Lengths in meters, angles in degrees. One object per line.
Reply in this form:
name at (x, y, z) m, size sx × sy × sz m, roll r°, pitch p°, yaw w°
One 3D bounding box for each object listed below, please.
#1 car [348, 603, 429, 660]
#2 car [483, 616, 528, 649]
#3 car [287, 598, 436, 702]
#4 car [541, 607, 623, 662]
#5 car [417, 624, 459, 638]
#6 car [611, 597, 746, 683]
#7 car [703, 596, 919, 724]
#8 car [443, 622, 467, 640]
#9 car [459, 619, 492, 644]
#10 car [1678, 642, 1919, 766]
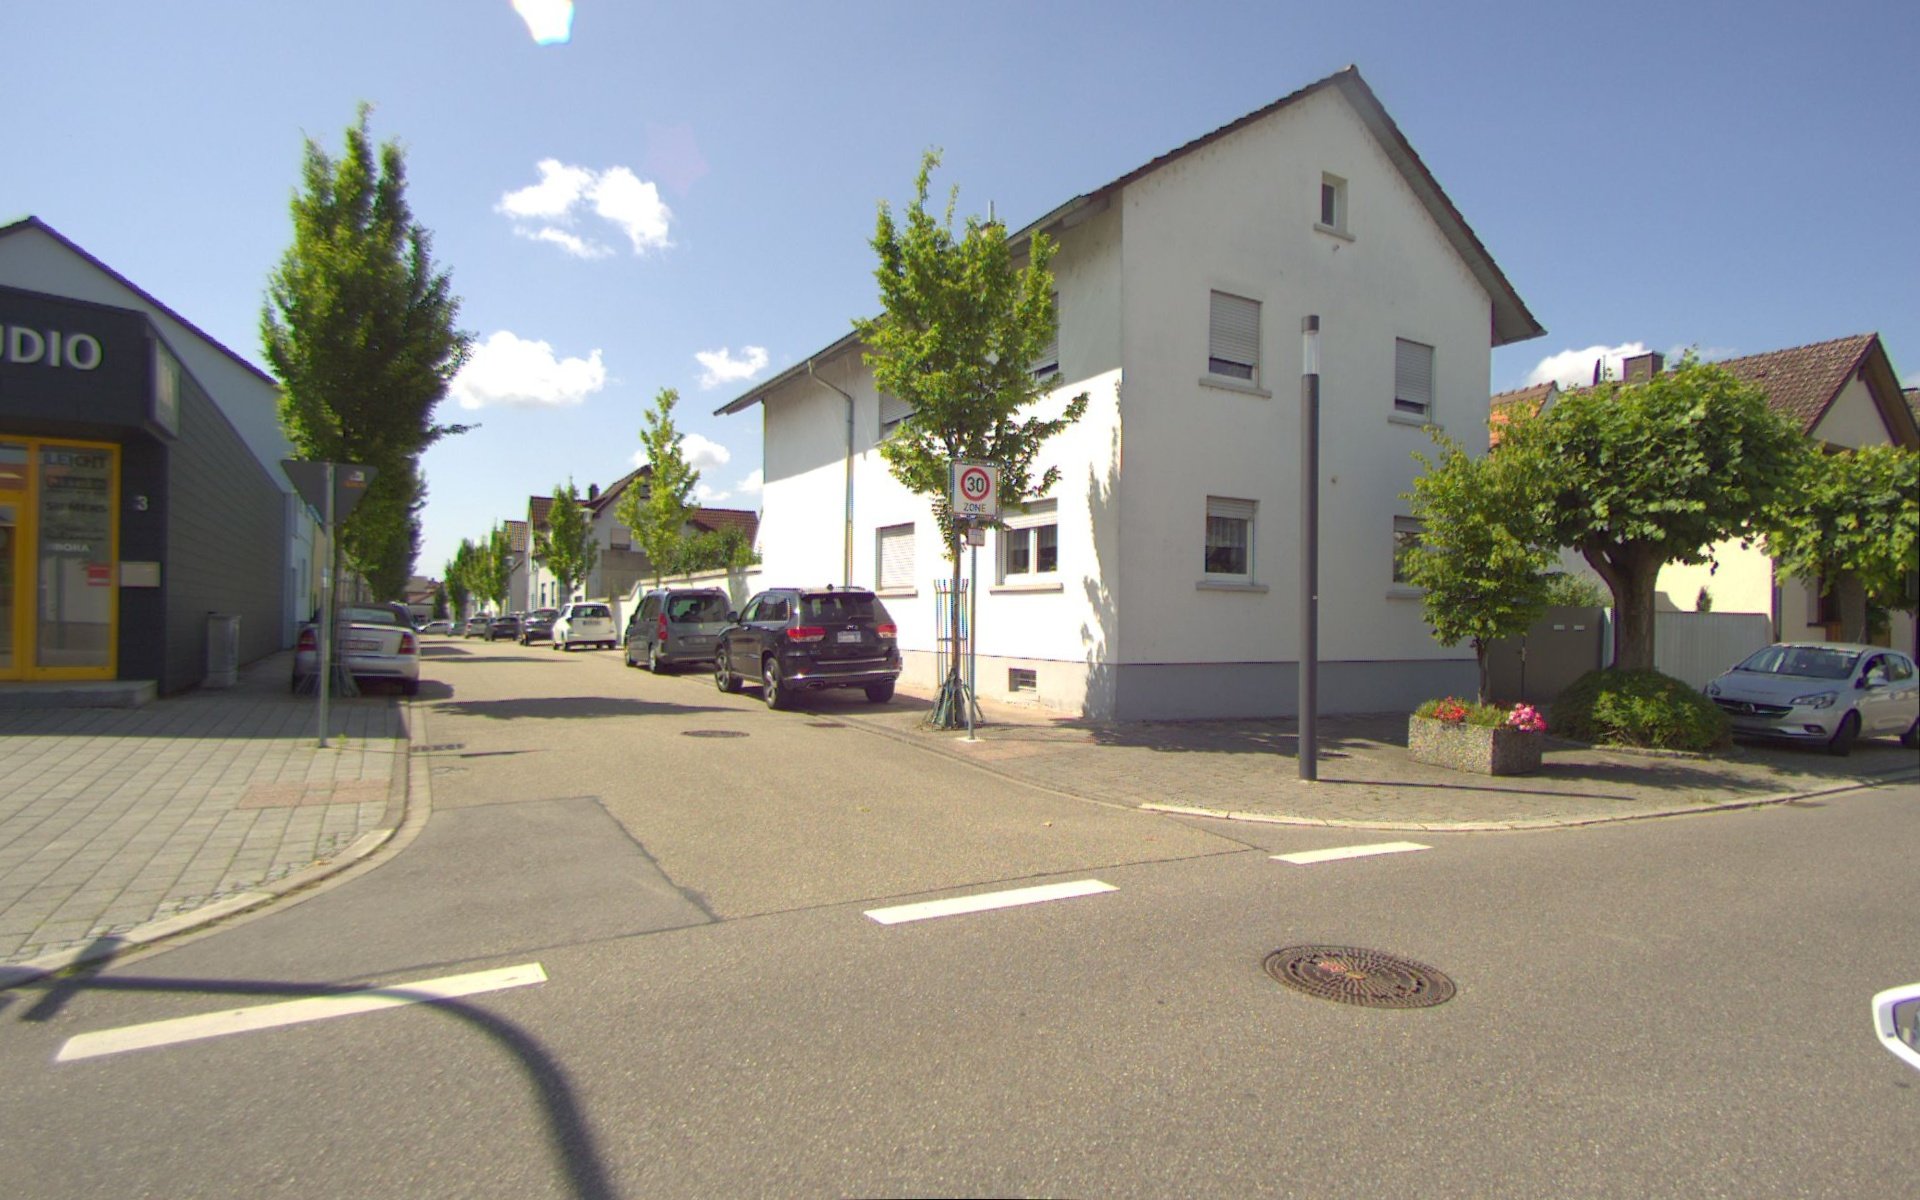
car at (-16.859, 0.938, 29.597) m, size 1.846 × 1.481 × 4.402 m, roll 5°, pitch -4°, yaw -31°
car at (-26.593, 1.843, 58.697) m, size 1.976 × 1.763 × 4.403 m, roll 0°, pitch 0°, yaw -30°
car at (-9.860, 0.758, 16.686) m, size 1.845 × 1.482 × 4.404 m, roll 2°, pitch -1°, yaw -30°
car at (-13.074, 1.117, 34.560) m, size 1.976 × 1.763 × 4.403 m, roll 0°, pitch 0°, yaw -30°
car at (-62.110, 3.713, 119.572) m, size 4.385 × 1.532 × 1.985 m, roll 1°, pitch -1°, yaw -29°
car at (-6.547, 0.817, 22.993) m, size 1.976 × 1.763 × 4.403 m, roll 0°, pitch 0°, yaw -30°
car at (-2.541, 0.826, 16.076) m, size 1.976 × 1.739 × 4.403 m, roll 0°, pitch 0°, yaw -30°
car at (-52.472, 3.186, 104.349) m, size 1.976 × 1.763 × 4.404 m, roll 0°, pitch -1°, yaw -30°
car at (-37.199, 2.381, 77.063) m, size 1.976 × 1.763 × 4.403 m, roll 0°, pitch 0°, yaw -30°
car at (12.608, 1.443, 14.772) m, size 4.085 × 1.502 × 1.816 m, roll 2°, pitch 0°, yaw -31°
